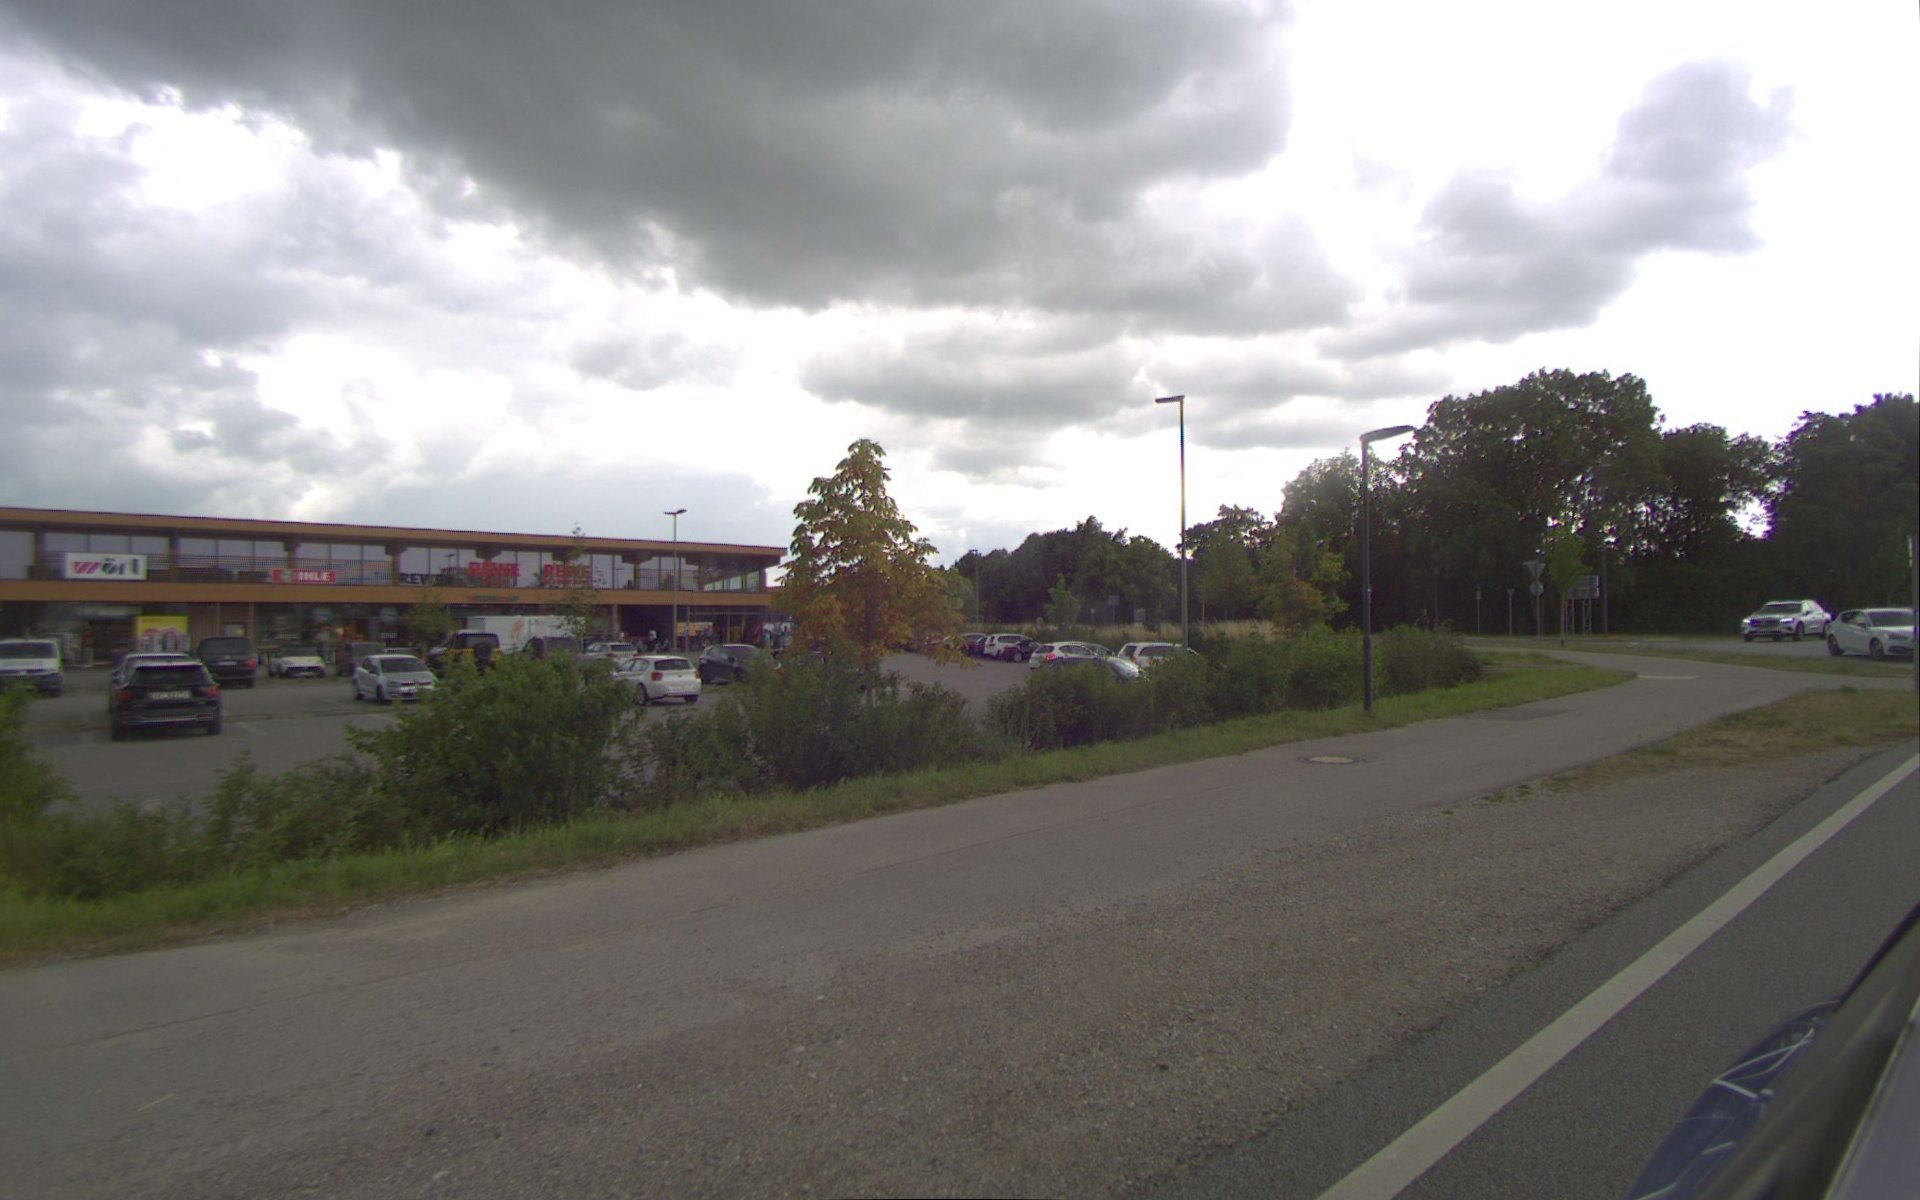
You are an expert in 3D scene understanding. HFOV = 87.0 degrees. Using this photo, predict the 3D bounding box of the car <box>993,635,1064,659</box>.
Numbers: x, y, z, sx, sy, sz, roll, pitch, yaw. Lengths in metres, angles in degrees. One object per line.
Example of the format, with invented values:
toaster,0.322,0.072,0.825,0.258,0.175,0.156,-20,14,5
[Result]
car,4.117,2.823,60.849,3.916,1.377,1.705,1,0,-13

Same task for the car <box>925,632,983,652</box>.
car,-0.467,3.049,73.169,3.916,1.377,1.705,1,0,-13

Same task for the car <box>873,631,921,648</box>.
car,-5.430,3.368,86.814,3.916,1.377,1.705,1,0,-13

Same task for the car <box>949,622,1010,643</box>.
car,1.360,2.289,70.383,3.916,1.377,1.705,1,0,-13

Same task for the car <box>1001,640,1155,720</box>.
car,3.047,2.040,26.725,1.629,1.727,3.993,1,0,-41

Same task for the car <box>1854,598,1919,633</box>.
car,42.479,0.685,44.913,3.705,1.538,1.997,1,0,6

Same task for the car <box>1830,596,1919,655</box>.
car,26.889,0.672,28.705,1.847,1.561,4.173,-1,-1,19

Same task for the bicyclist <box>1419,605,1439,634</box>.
bicyclist,20.563,0.847,44.398,0.545,1.259,0.659,1,0,0

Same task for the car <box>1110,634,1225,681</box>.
car,8.277,2.275,40.550,4.154,1.738,1.705,1,0,-13

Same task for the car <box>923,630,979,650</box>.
car,-0.692,3.000,76.350,3.916,1.377,1.705,1,0,-13

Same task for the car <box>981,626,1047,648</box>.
car,3.453,2.359,64.817,3.916,1.377,1.705,1,0,-13

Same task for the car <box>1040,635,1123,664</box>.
car,6.304,2.554,52.541,3.916,1.377,1.705,1,0,-13

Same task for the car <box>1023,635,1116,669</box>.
car,5.033,2.369,46.540,3.919,1.377,1.847,0,0,-29

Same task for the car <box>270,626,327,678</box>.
car,-29.600,2.284,45.220,1.962,2.039,3.999,1,0,-36

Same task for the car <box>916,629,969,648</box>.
car,-1.375,3.024,79.001,3.916,1.377,1.705,1,0,-13

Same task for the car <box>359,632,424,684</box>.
car,-24.112,2.421,42.874,1.962,2.040,3.998,1,-3,-36

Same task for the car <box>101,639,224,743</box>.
car,-17.916,1.941,22.909,1.962,1.894,4.274,1,0,-36

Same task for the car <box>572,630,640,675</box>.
car,-17.077,2.486,48.709,2.032,1.871,3.999,1,0,-36

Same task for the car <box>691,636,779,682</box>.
car,-8.941,2.283,39.977,1.962,1.504,4.131,0,0,-36

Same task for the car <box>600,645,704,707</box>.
car,-9.360,2.237,30.635,1.723,1.552,3.554,0,0,-41

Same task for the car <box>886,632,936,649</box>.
car,-4.057,3.352,84.045,3.916,1.377,1.705,1,0,-13

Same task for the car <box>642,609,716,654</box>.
car,-12.946,1.396,46.460,1.962,1.894,4.274,1,0,-36

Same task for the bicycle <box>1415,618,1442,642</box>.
bicycle,20.566,1.304,44.406,0.557,0.974,1.301,1,0,0

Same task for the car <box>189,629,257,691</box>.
car,-28.019,2.224,38.540,1.962,2.039,3.999,1,0,-36

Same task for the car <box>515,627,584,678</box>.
car,-18.763,2.356,46.208,2.032,2.039,3.999,1,0,-36

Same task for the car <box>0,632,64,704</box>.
car,-31.566,2.220,34.128,1.965,2.039,5.137,1,0,-41

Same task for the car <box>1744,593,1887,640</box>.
car,33.696,0.613,40.006,3.966,1.705,1.979,1,0,30

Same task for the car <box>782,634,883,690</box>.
car,-4.350,2.077,34.149,1.771,1.728,3.385,0,-3,-41

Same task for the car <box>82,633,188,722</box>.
car,-22.296,2.003,27.502,1.962,2.039,3.999,1,0,-36

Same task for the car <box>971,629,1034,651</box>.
car,2.856,2.667,67.974,3.916,1.377,1.705,1,0,-13

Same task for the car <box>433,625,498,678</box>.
car,-21.905,2.221,44.778,1.962,2.039,3.999,1,0,-36

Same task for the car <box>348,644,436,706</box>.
car,-17.943,2.303,31.899,1.962,1.571,4.131,0,0,-36
